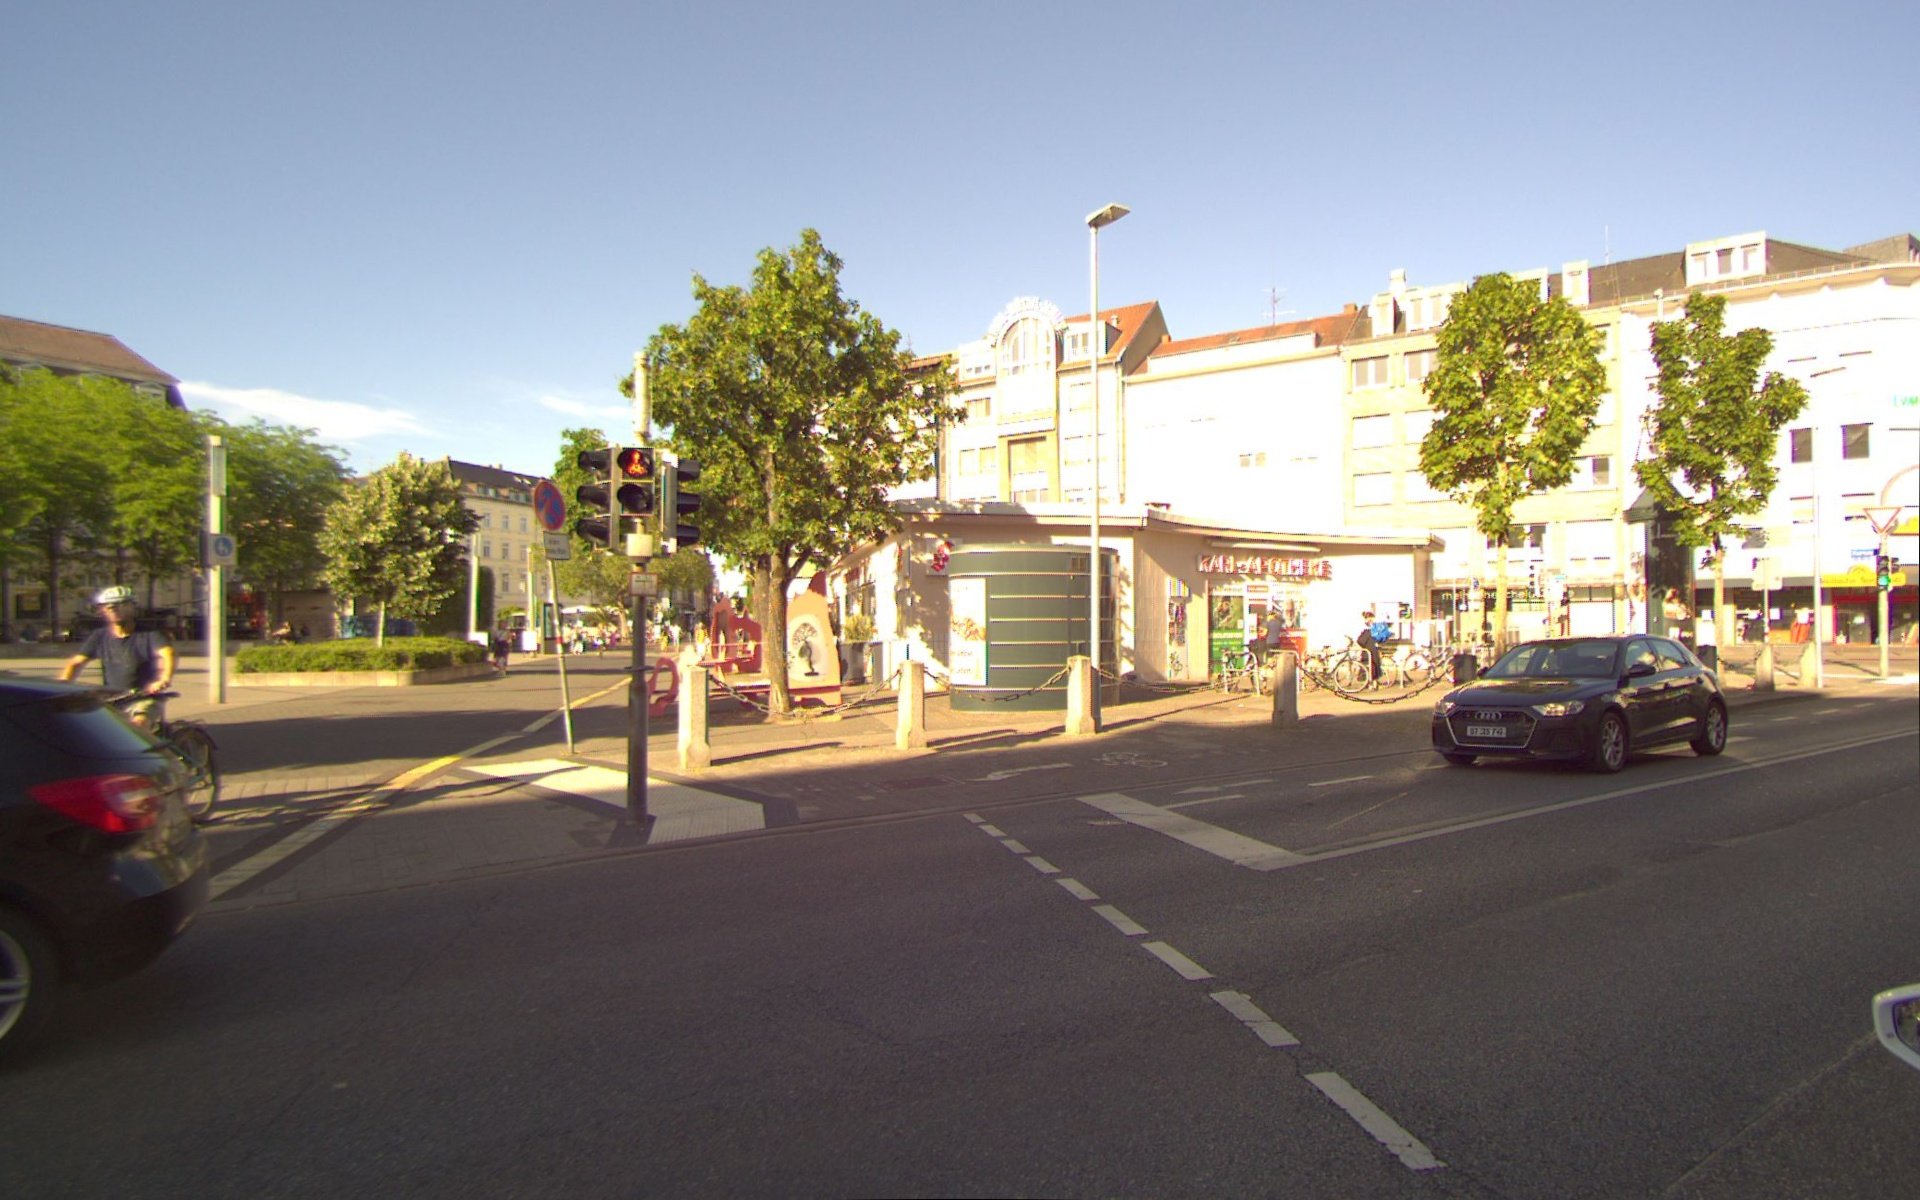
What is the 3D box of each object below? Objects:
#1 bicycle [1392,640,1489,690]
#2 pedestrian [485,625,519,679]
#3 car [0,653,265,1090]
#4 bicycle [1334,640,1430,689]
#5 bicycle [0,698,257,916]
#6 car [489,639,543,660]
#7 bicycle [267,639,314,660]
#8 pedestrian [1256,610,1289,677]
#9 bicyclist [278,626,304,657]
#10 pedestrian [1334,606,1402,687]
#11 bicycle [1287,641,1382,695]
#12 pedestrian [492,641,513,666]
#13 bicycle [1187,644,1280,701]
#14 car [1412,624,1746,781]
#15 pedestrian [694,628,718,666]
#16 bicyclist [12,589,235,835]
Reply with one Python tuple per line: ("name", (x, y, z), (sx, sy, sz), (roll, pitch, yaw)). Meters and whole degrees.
("bicycle", (11.366, 1.517, 23.829), (0.745, 1.102, 1.978), (0, -1, -31))
("pedestrian", (-14.170, 1.593, 31.099), (0.860, 1.617, 1.071), (-1, -1, -20))
("car", (-4.890, 0.989, 3.327), (4.210, 1.441, 1.739), (0, -4, -34))
("bicycle", (9.457, 1.418, 22.599), (0.874, 1.015, 2.011), (-1, -1, -19))
("bicycle", (-6.055, 1.388, 7.273), (0.750, 1.086, 2.171), (-1, 1, -12))
("car", (-40.007, 4.466, 90.609), (1.966, 1.821, 3.989), (-3, -2, 33))
("bicycle", (-30.535, 2.244, 45.834), (0.516, 0.882, 1.708), (-1, -1, 34))
("pedestrian", (8.308, 1.154, 26.723), (0.605, 1.732, 0.516), (0, -2, -34))
("bicyclist", (-30.535, 1.884, 45.837), (0.427, 1.363, 0.911), (-1, -1, 34))
("pedestrian", (9.033, 1.013, 22.261), (0.888, 1.720, 1.081), (-1, -1, -19))
("bicycle", (7.759, 1.389, 20.909), (0.755, 1.015, 1.879), (-1, -1, -25))
("pedestrian", (-28.016, 3.291, 61.498), (0.767, 1.484, 0.944), (-2, -2, 34))
("bicycle", (5.389, 1.402, 19.900), (0.755, 1.015, 1.879), (-1, -1, -25))
("car", (7.031, 1.057, 11.302), (4.000, 1.415, 1.641), (0, -4, -34))
("pedestrian", (-11.124, 2.054, 44.018), (0.863, 1.606, 1.157), (-1, -1, -7))
("bicyclist", (-6.073, 0.769, 7.359), (0.976, 1.670, 0.804), (-1, -1, -11))
